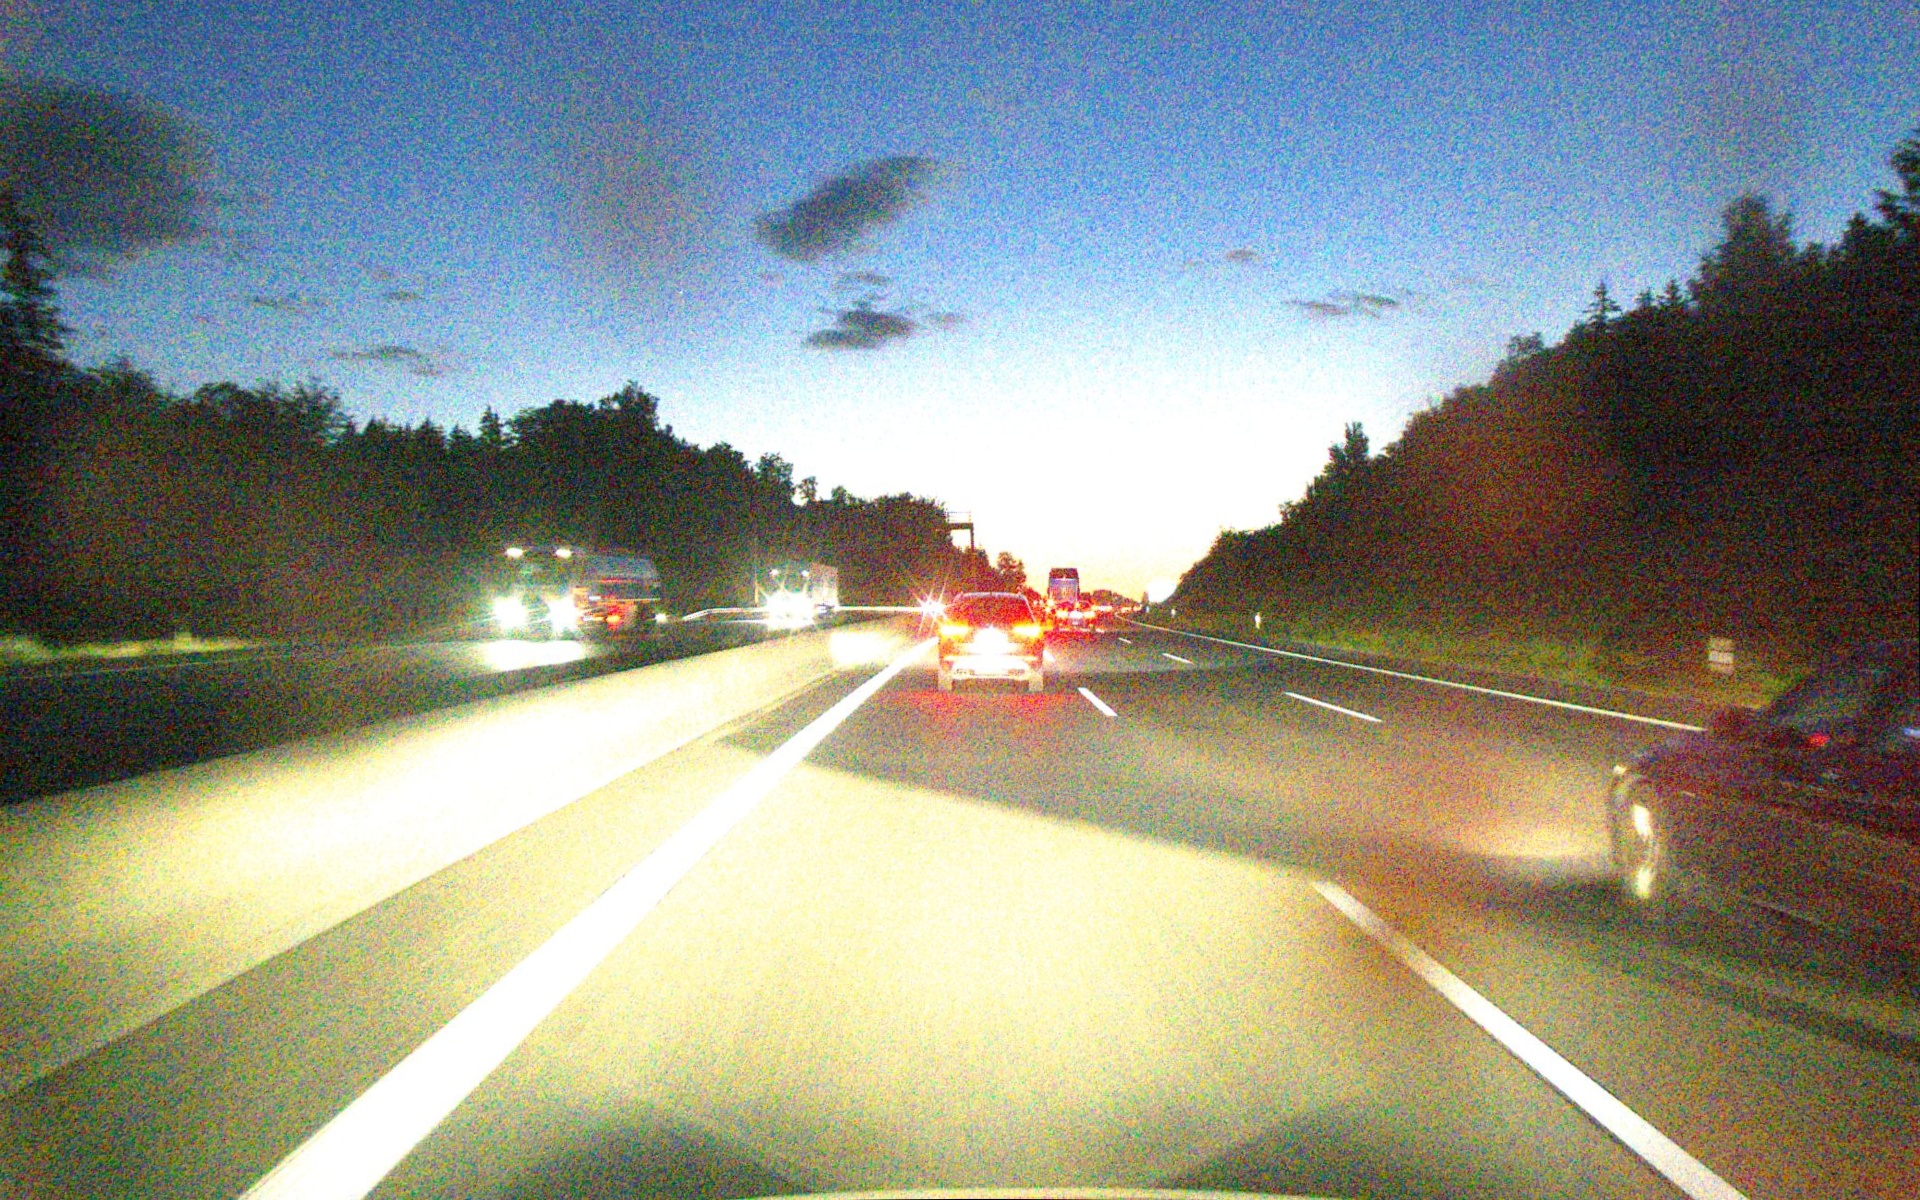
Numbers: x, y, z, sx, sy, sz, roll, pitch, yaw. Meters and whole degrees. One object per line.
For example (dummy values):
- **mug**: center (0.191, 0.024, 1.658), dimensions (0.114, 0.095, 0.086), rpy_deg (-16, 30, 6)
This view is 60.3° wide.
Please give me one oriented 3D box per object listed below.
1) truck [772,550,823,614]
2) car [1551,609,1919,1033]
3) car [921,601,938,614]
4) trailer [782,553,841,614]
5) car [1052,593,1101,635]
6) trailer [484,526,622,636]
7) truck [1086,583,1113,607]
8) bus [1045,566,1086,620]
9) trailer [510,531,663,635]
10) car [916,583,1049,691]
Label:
- **truck**: center (-11.831, -1.242, 120.799), dimensions (2.793, 4.511, 6.398), rpy_deg (1, 0, 2)
- **car**: center (4.200, 0.783, 6.607), dimensions (1.797, 1.425, 5.068), rpy_deg (0, 0, -1)
- **car**: center (-3.506, 0.844, 192.431), dimensions (1.775, 1.478, 4.135), rpy_deg (0, 0, 2)
- **trailer**: center (-11.482, -1.219, 129.367), dimensions (2.793, 4.511, 13.984), rpy_deg (1, 0, 2)
- **car**: center (5.177, 0.649, 74.051), dimensions (1.872, 1.760, 4.000), rpy_deg (3, -1, 0)
- **trailer**: center (-14.785, -0.642, 60.747), dimensions (2.994, 3.753, 7.231), rpy_deg (1, 0, 2)
- **truck**: center (18.168, -0.632, 215.982), dimensions (2.494, 3.069, 9.050), rpy_deg (1, 0, -1)
- **bus**: center (9.054, -0.475, 140.170), dimensions (2.596, 4.064, 14.710), rpy_deg (-2, -2, 6)
- **trailer**: center (-14.598, -0.607, 65.818), dimensions (2.994, 3.753, 11.689), rpy_deg (1, 0, 2)
- **car**: center (0.365, 0.570, 28.260), dimensions (2.062, 1.646, 4.204), rpy_deg (1, 1, 0)
